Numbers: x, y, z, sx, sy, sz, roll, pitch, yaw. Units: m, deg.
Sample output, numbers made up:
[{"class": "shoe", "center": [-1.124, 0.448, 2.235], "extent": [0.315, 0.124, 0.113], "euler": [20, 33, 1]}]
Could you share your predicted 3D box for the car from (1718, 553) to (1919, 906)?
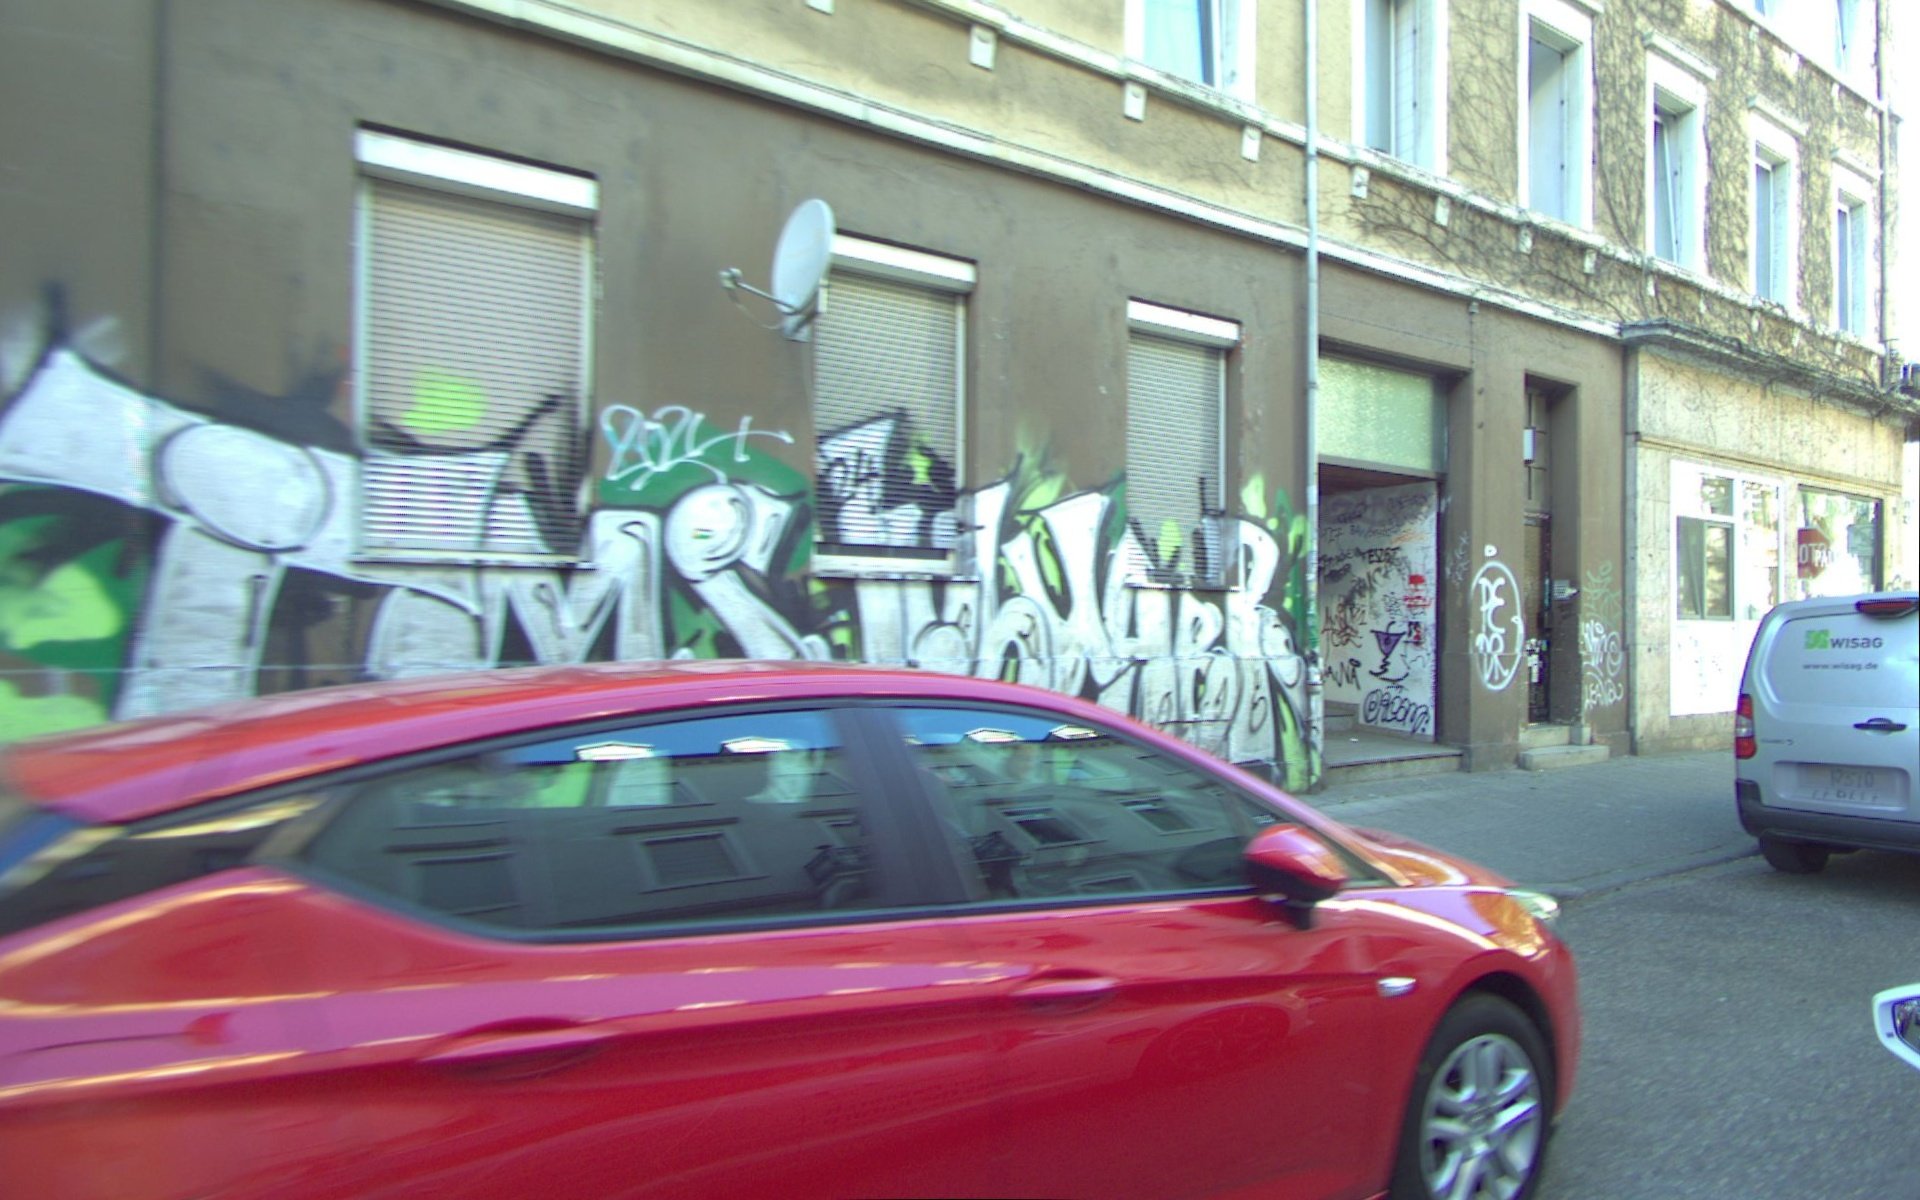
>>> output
[{"class": "car", "center": [7.158, 0.754, 6.733], "extent": [4.466, 1.934, 1.672], "euler": [1, -4, -31]}]

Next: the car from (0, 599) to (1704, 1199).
[{"class": "car", "center": [-0.011, 0.820, 2.590], "extent": [4.156, 1.492, 1.671], "euler": [1, -3, -32]}]
